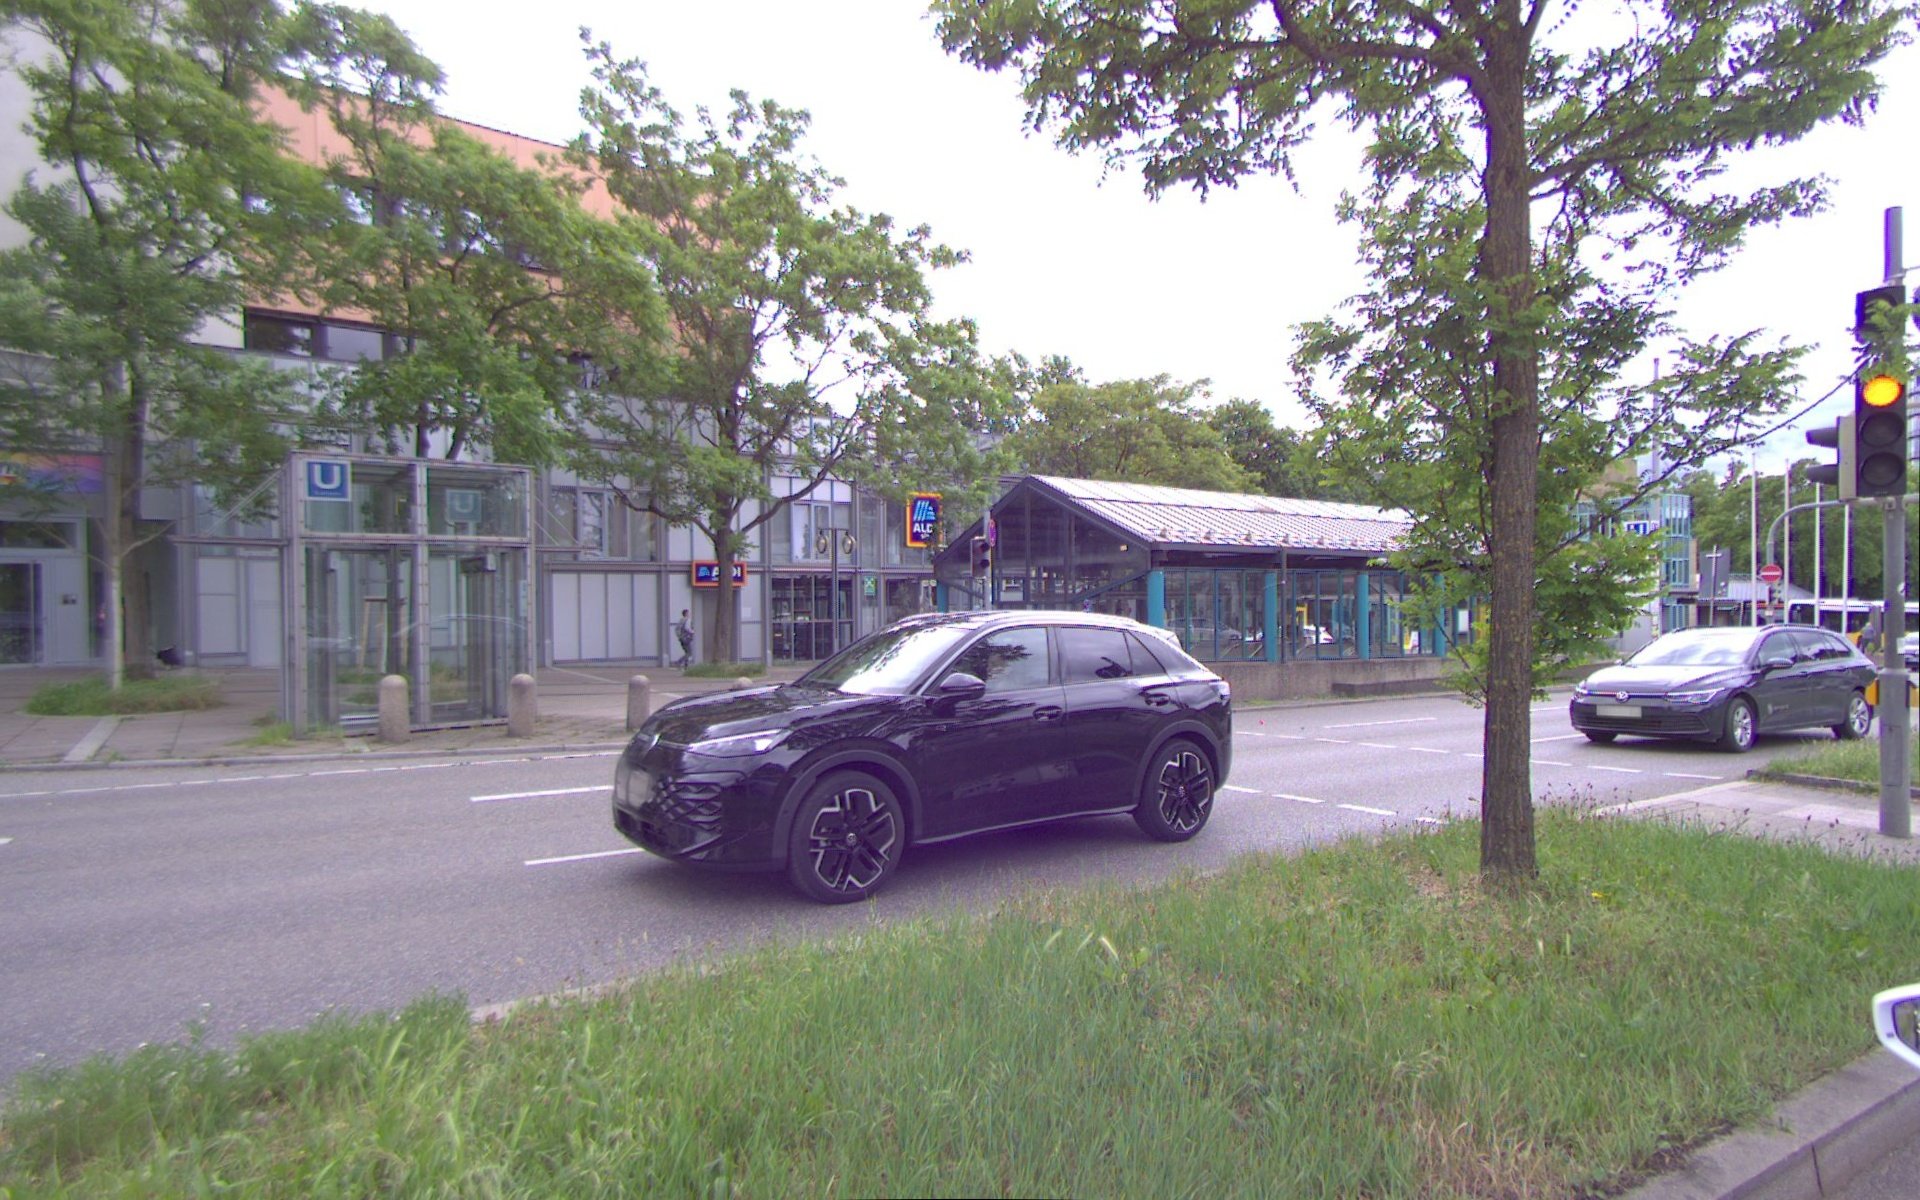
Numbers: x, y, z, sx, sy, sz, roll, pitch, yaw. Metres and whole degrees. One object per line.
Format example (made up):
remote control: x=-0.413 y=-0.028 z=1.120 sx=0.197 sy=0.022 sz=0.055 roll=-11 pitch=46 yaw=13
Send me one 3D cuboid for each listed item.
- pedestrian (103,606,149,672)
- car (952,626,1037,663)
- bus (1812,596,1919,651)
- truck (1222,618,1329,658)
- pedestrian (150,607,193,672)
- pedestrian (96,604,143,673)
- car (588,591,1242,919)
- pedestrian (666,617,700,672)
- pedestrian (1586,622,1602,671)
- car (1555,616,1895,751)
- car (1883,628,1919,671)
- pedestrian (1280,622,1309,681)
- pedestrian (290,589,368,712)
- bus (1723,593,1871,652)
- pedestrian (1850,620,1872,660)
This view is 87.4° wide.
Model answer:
pedestrian: x=-17.921 y=0.825 z=21.592 sx=0.689 sy=1.393 sz=0.578 roll=1 pitch=-1 yaw=-37
car: x=1.662 y=2.193 z=50.389 sx=1.769 sy=1.710 sz=4.838 roll=1 pitch=-1 yaw=-33
bus: x=57.933 y=1.543 z=63.773 sx=7.771 sy=3.313 sz=2.980 roll=1 pitch=-1 yaw=-26
truck: x=12.877 y=1.530 z=40.994 sx=3.926 sy=1.537 sz=1.998 roll=0 pitch=-1 yaw=27
pedestrian: x=-17.224 y=0.848 z=21.958 sx=0.689 sy=1.393 sz=0.578 roll=1 pitch=-1 yaw=-37
pedestrian: x=-17.512 y=0.800 z=20.942 sx=0.689 sy=1.393 sz=0.578 roll=1 pitch=-1 yaw=-37
car: x=-0.160 y=0.834 z=6.692 sx=4.034 sy=1.540 sz=1.823 roll=2 pitch=-5 yaw=-37
pedestrian: x=-7.581 y=1.209 z=27.531 sx=0.748 sy=1.499 sz=0.525 roll=1 pitch=-1 yaw=-36
pedestrian: x=20.986 y=1.526 z=33.250 sx=0.412 sy=1.612 sz=0.356 roll=0 pitch=-1 yaw=31
car: x=9.817 y=0.999 z=12.858 sx=4.230 sy=1.500 sz=1.704 roll=1 pitch=-3 yaw=-26
car: x=37.559 y=1.913 z=39.173 sx=3.316 sy=1.599 sz=1.673 roll=1 pitch=-1 yaw=-36
pedestrian: x=10.272 y=1.576 z=30.852 sx=0.749 sy=1.786 sz=0.525 roll=1 pitch=-1 yaw=-37
pedestrian: x=-9.857 y=0.781 z=15.702 sx=0.530 sy=1.857 sz=0.916 roll=0 pitch=-1 yaw=44
bus: x=49.935 y=1.381 z=59.833 sx=10.036 sy=3.293 sz=2.980 roll=1 pitch=-1 yaw=-26
pedestrian: x=44.121 y=1.939 z=49.185 sx=0.678 sy=1.922 sz=0.658 roll=1 pitch=-1 yaw=-30
